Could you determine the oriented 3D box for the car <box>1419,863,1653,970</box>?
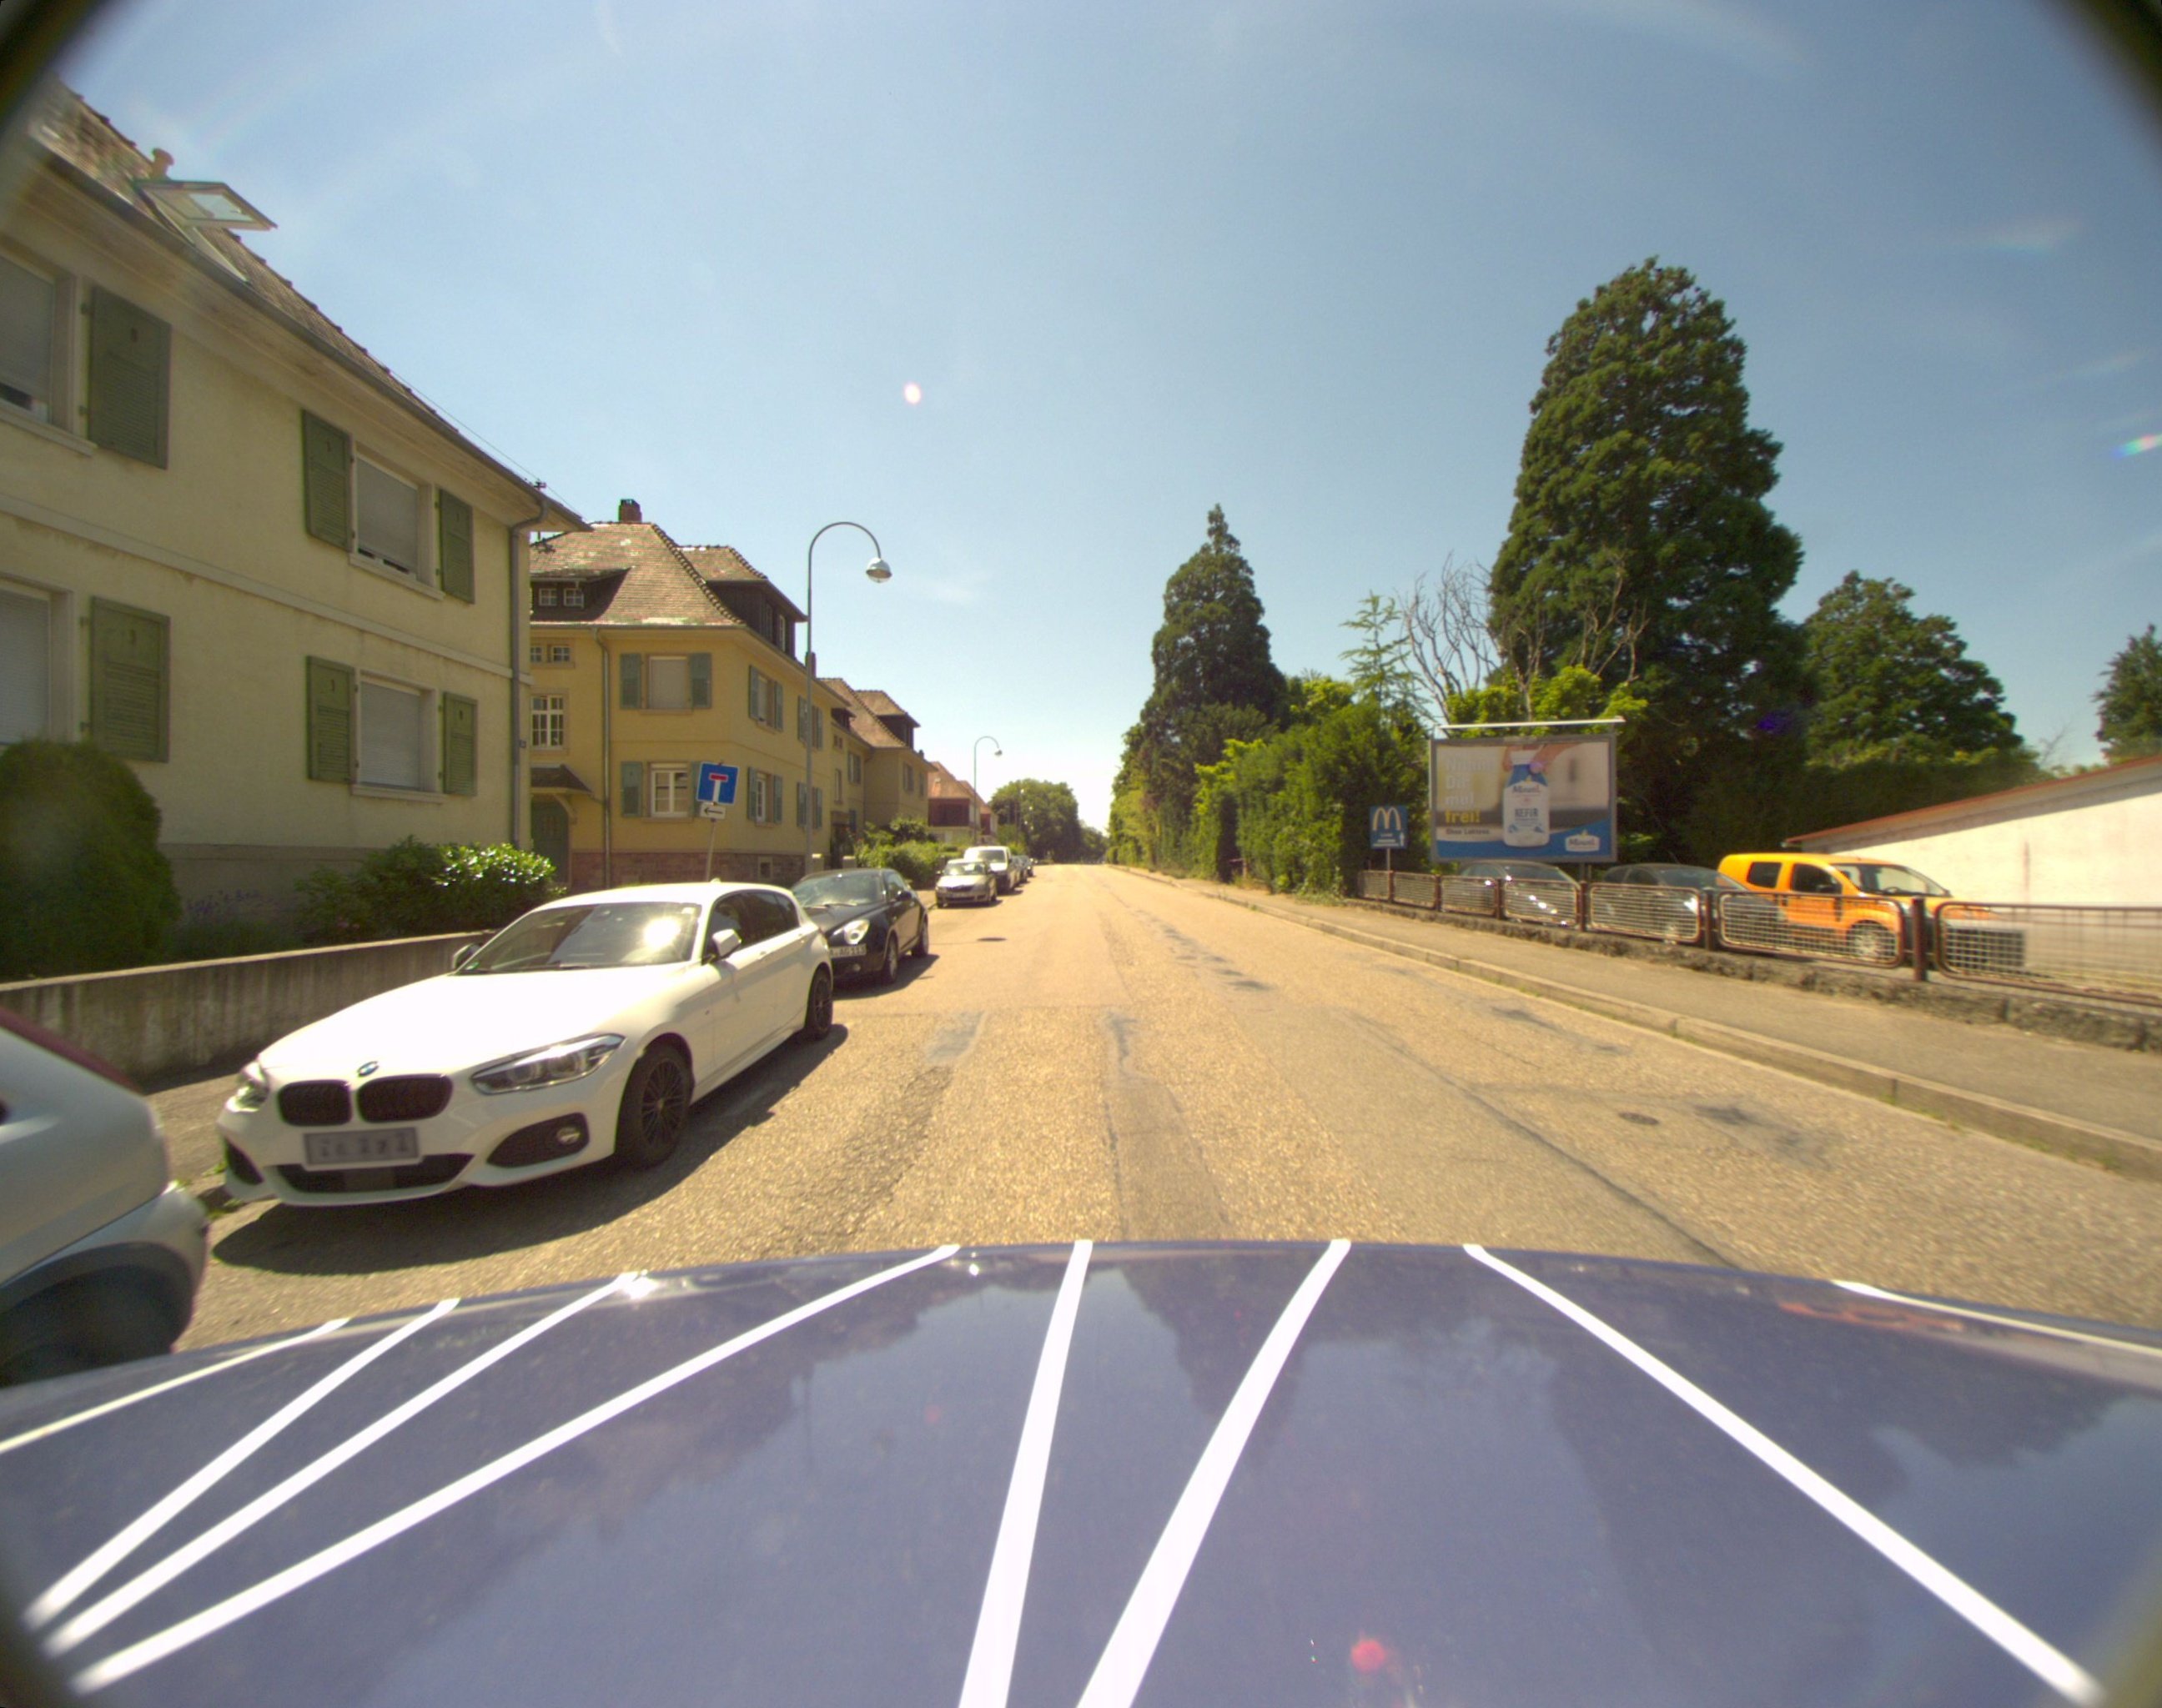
[{"bbox_3d":[8.043,1.010,13.939,1.799,1.509,3.998,1,1,-1],"label":"car"}]

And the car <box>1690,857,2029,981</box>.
[{"bbox_3d":[13.309,0.990,13.432,1.799,1.732,3.998,1,1,-1],"label":"car"}]

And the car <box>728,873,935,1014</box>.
[{"bbox_3d":[-3.165,1.050,10.480,1.600,1.422,3.999,-3,0,-2],"label":"car"}]

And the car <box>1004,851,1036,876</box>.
[{"bbox_3d":[-4.006,0.592,50.385,1.806,1.505,4.336,-2,1,-2],"label":"car"}]

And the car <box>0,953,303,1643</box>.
[{"bbox_3d":[-3.249,1.098,0.348,1.671,1.457,3.998,-3,1,-2],"label":"car"}]

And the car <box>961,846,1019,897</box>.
[{"bbox_3d":[-3.591,0.643,30.847,1.852,1.858,4.690,-2,1,-2],"label":"car"}]

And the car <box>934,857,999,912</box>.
[{"bbox_3d":[-3.600,0.902,24.502,1.600,1.495,3.998,-2,1,-2],"label":"car"}]

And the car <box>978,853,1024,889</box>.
[{"bbox_3d":[-3.747,0.781,36.228,1.806,1.505,4.336,-2,1,-2],"label":"car"}]

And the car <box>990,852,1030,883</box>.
[{"bbox_3d":[-3.781,0.691,41.102,1.806,1.505,4.336,-2,1,-2],"label":"car"}]

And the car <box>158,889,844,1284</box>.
[{"bbox_3d":[-3.081,1.077,5.236,1.671,1.427,3.999,-3,0,-2],"label":"car"}]

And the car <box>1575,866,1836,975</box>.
[{"bbox_3d":[10.995,1.063,13.819,1.797,1.509,4.001,1,1,8],"label":"car"}]
